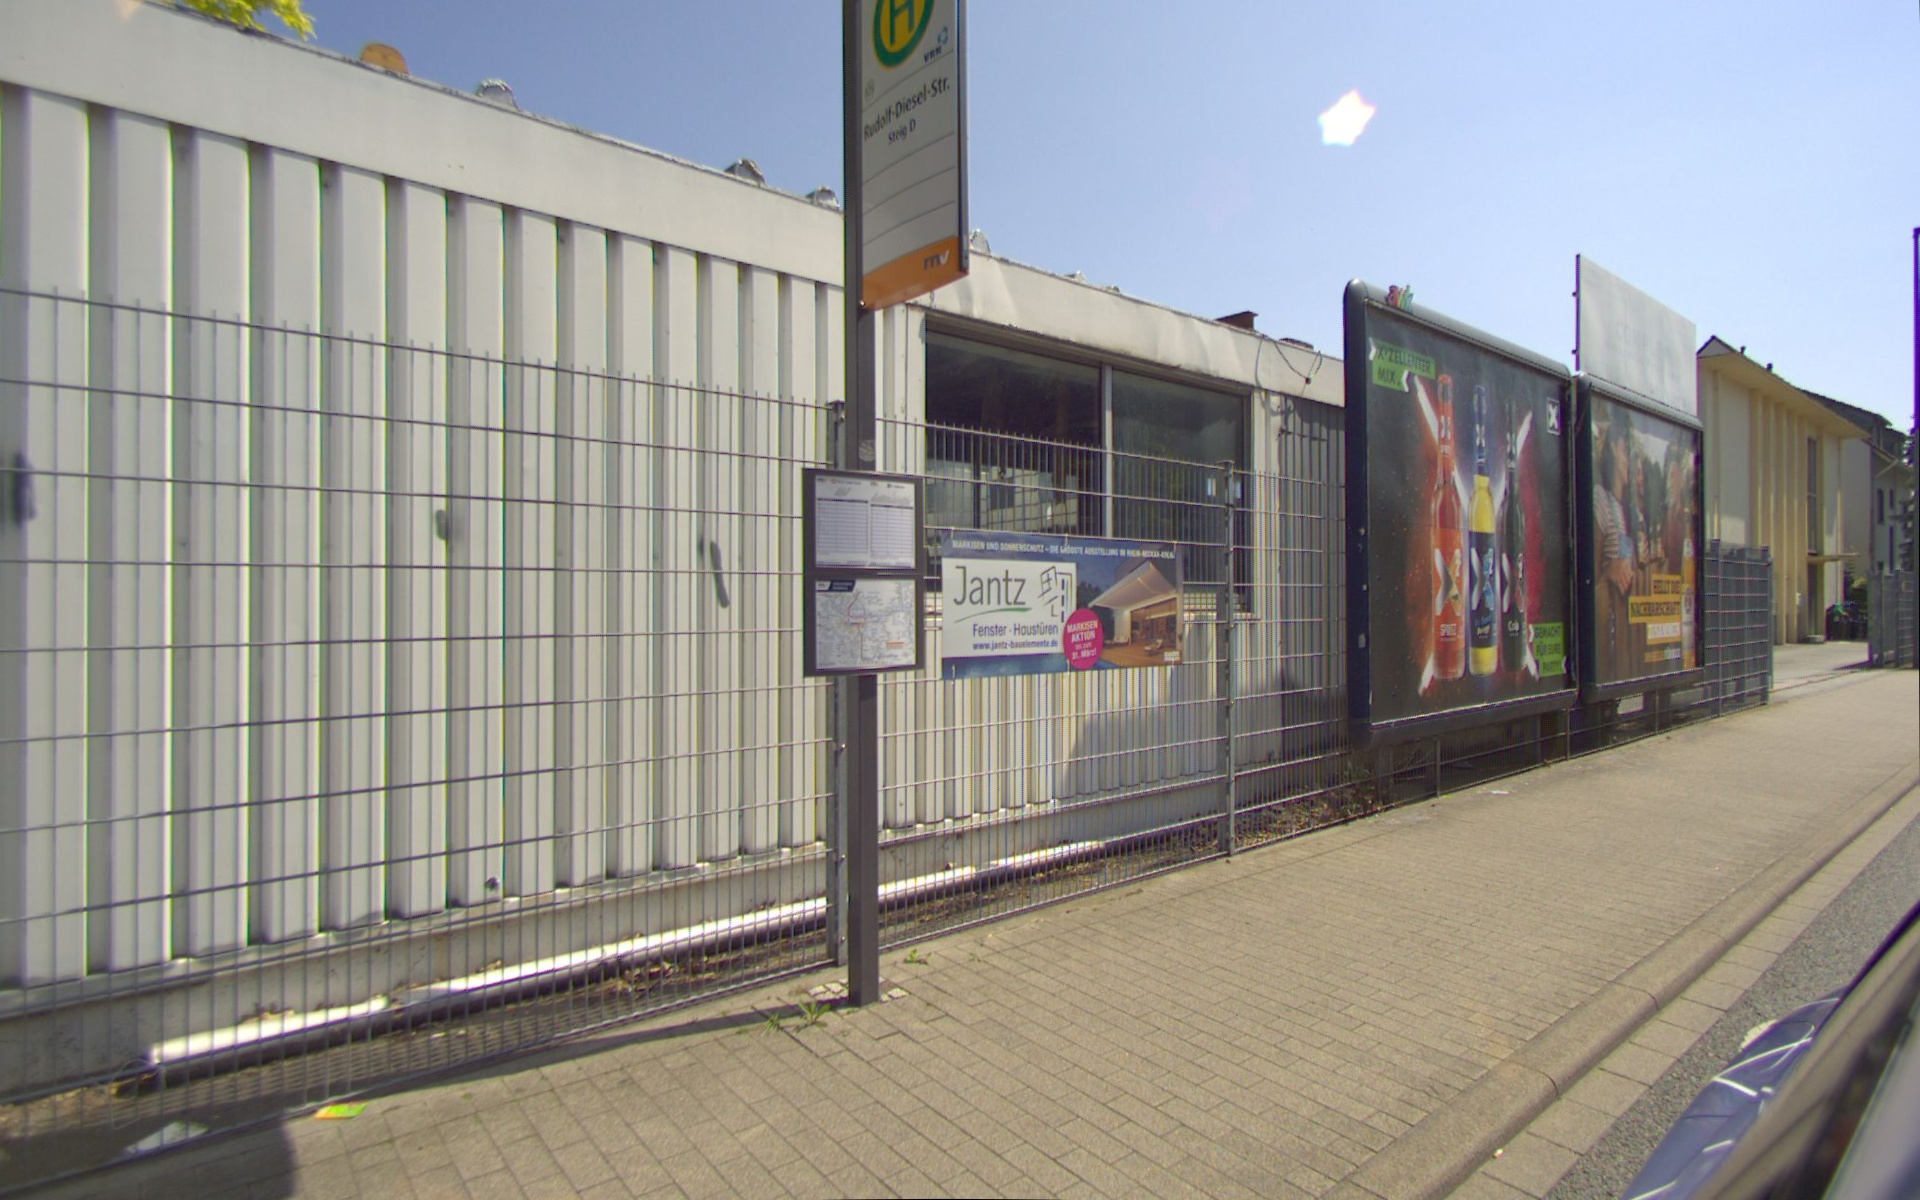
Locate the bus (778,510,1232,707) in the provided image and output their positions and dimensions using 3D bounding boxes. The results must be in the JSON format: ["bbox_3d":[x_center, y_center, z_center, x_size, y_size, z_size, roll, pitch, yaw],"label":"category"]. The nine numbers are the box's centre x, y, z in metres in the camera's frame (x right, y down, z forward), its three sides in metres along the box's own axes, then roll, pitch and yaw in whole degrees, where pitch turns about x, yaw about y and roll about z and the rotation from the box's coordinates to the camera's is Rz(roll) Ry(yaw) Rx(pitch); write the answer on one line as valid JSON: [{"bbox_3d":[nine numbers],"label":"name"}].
[{"bbox_3d":[1.413,-0.021,20.656,10.087,3.211,2.571,-2,1,-39],"label":"bus"}]
